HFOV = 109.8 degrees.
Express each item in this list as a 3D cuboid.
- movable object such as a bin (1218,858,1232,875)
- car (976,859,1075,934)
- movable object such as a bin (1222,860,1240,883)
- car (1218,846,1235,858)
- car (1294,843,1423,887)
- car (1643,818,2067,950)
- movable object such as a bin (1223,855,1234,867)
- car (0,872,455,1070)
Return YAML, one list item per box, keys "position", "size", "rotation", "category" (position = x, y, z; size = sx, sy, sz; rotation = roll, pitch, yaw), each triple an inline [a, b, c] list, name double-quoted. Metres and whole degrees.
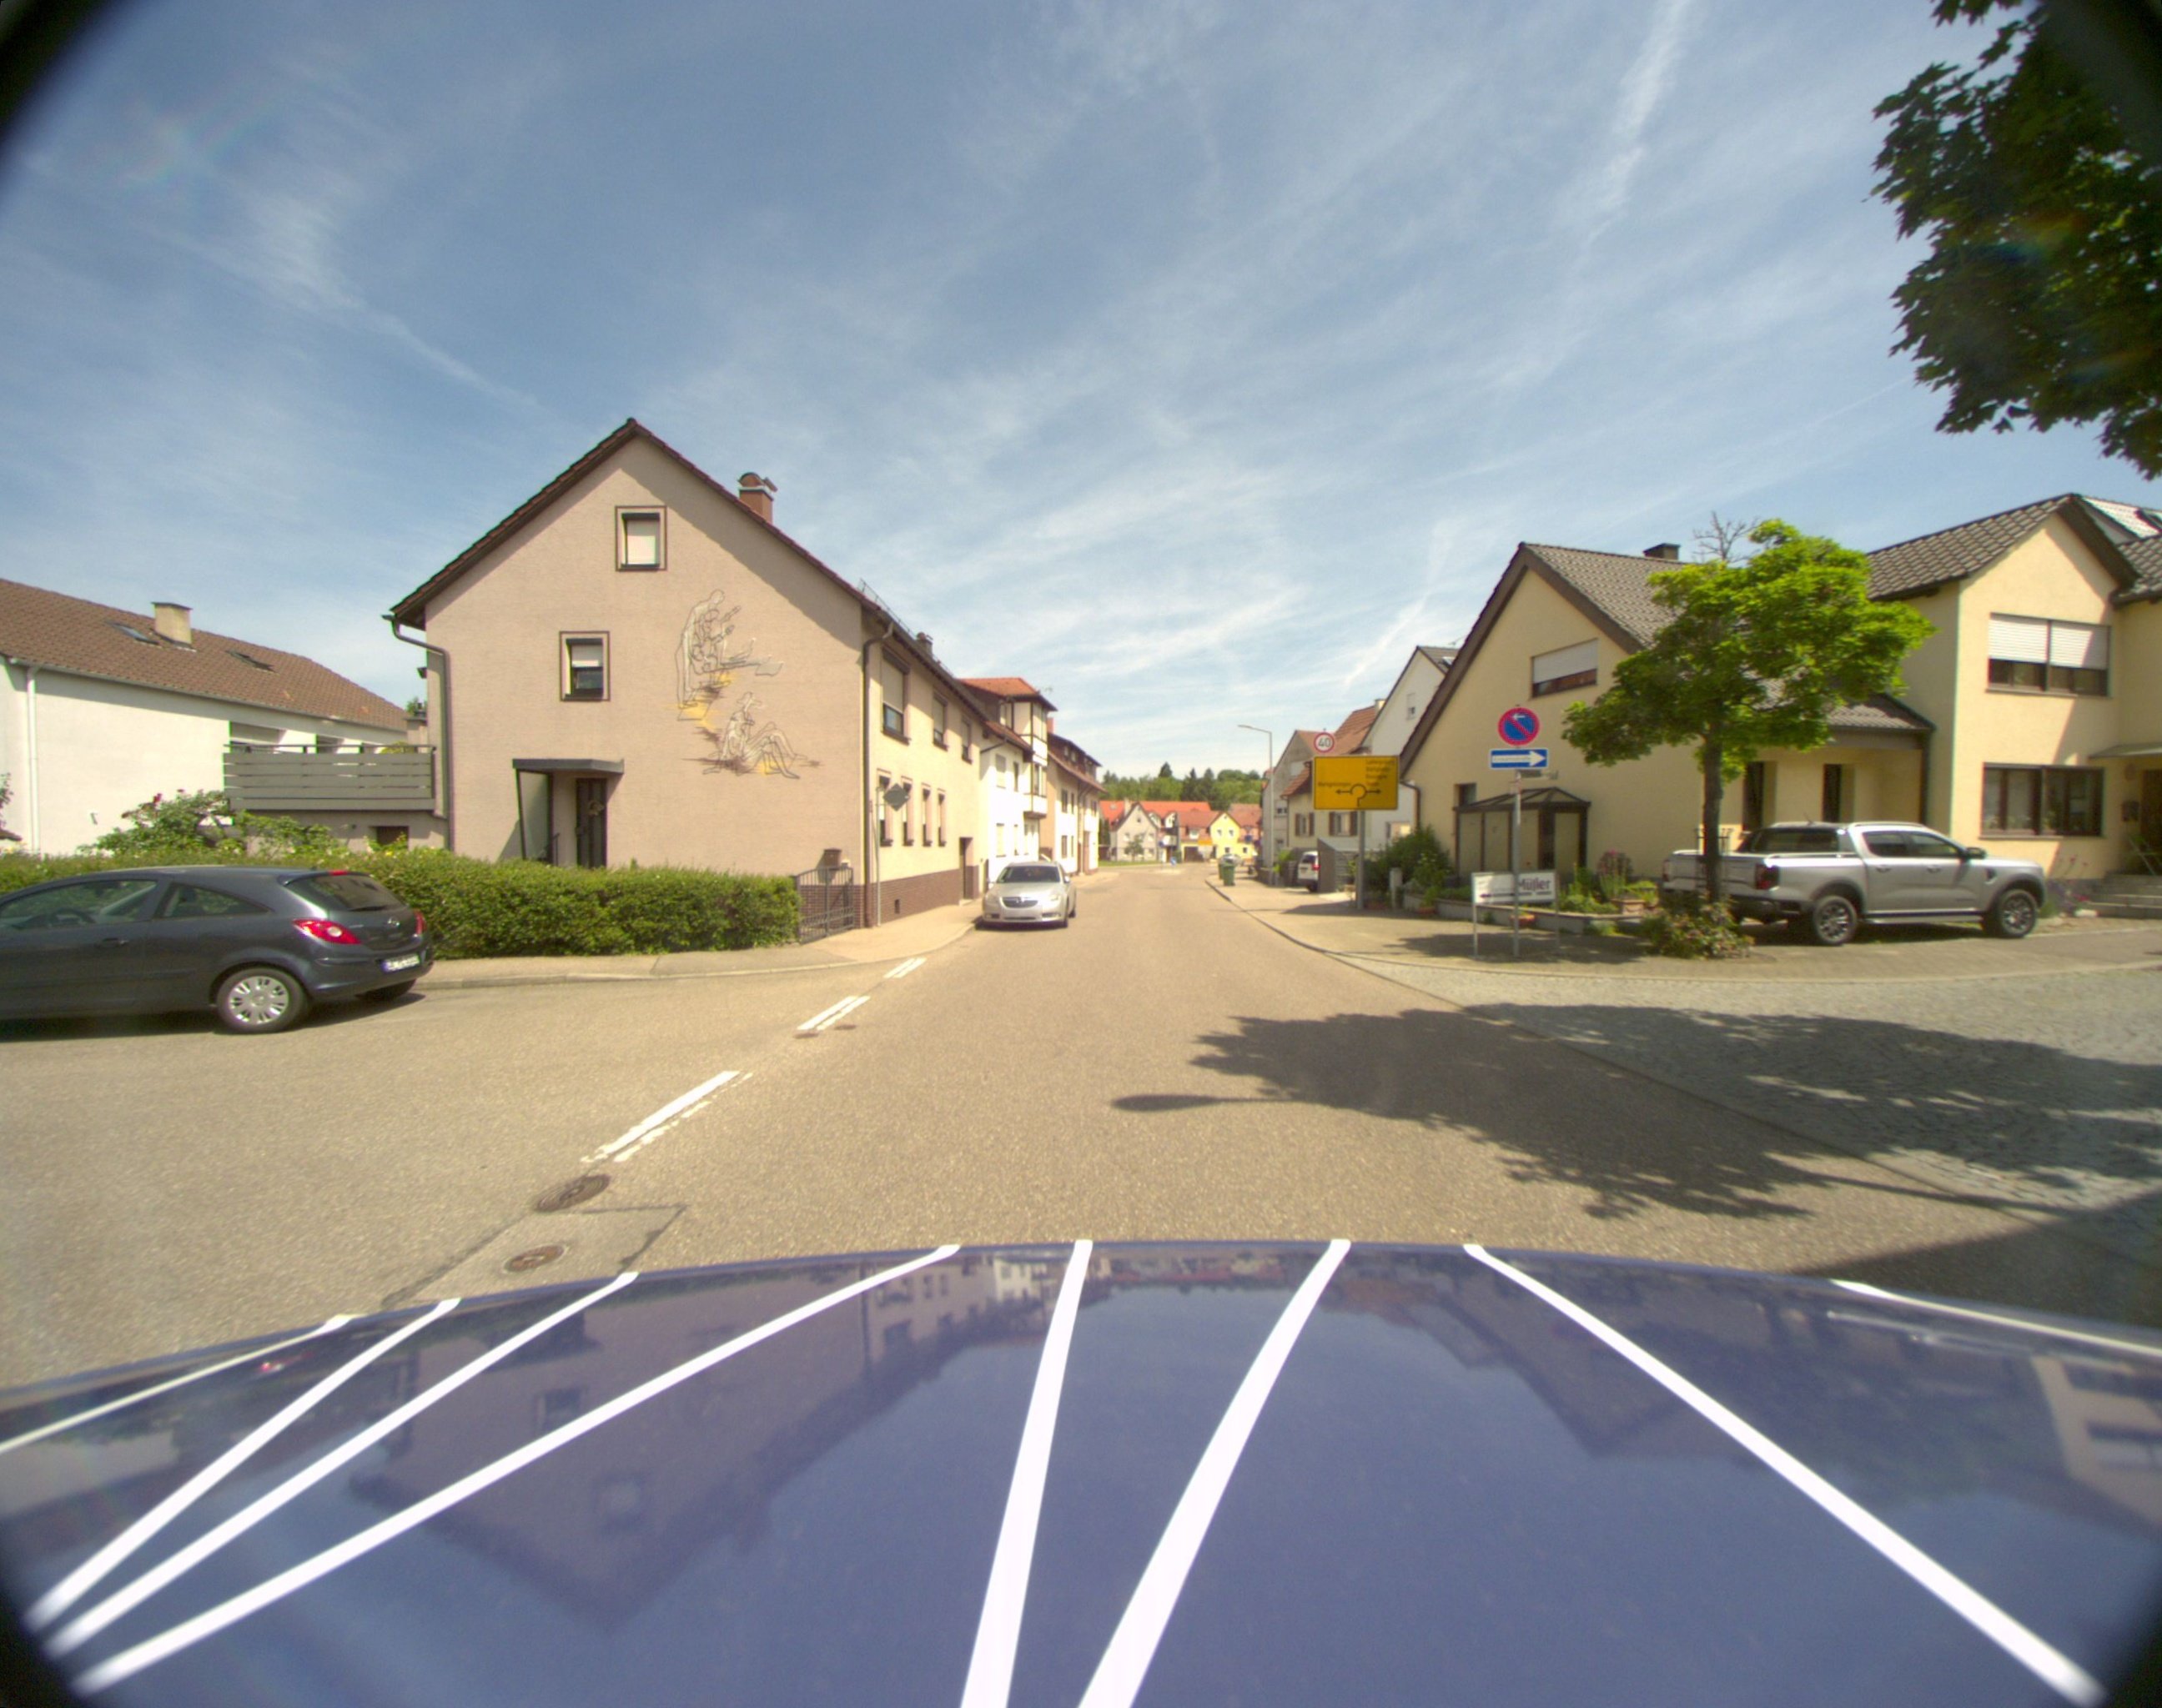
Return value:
- position: [9.023, 0.781, 47.551]
  size: [0.793, 1.051, 0.651]
  rotation: [0, 1, 4]
  category: "movable object such as a bin"
- position: [-1.154, 0.882, 17.667]
  size: [1.790, 1.433, 4.337]
  rotation: [-1, 0, 2]
  category: "car"
- position: [7.300, 0.837, 37.050]
  size: [0.827, 1.071, 0.818]
  rotation: [-1, 1, 8]
  category: "movable object such as a bin"
- position: [17.794, -0.244, 92.937]
  size: [1.958, 1.478, 4.462]
  rotation: [0, 1, 11]
  category: "car"
- position: [11.016, 0.415, 30.328]
  size: [4.415, 1.613, 1.998]
  rotation: [-1, 1, -6]
  category: "car"
- position: [12.342, 0.406, 12.322]
  size: [5.122, 1.885, 2.173]
  rotation: [0, 1, -8]
  category: "car"
- position: [12.459, 0.592, 63.982]
  size: [0.809, 1.039, 0.828]
  rotation: [-1, 1, 17]
  category: "movable object such as a bin"
- position: [-8.551, 0.965, 6.998]
  size: [3.818, 1.479, 1.887]
  rotation: [-1, 1, -13]
  category: "car"
